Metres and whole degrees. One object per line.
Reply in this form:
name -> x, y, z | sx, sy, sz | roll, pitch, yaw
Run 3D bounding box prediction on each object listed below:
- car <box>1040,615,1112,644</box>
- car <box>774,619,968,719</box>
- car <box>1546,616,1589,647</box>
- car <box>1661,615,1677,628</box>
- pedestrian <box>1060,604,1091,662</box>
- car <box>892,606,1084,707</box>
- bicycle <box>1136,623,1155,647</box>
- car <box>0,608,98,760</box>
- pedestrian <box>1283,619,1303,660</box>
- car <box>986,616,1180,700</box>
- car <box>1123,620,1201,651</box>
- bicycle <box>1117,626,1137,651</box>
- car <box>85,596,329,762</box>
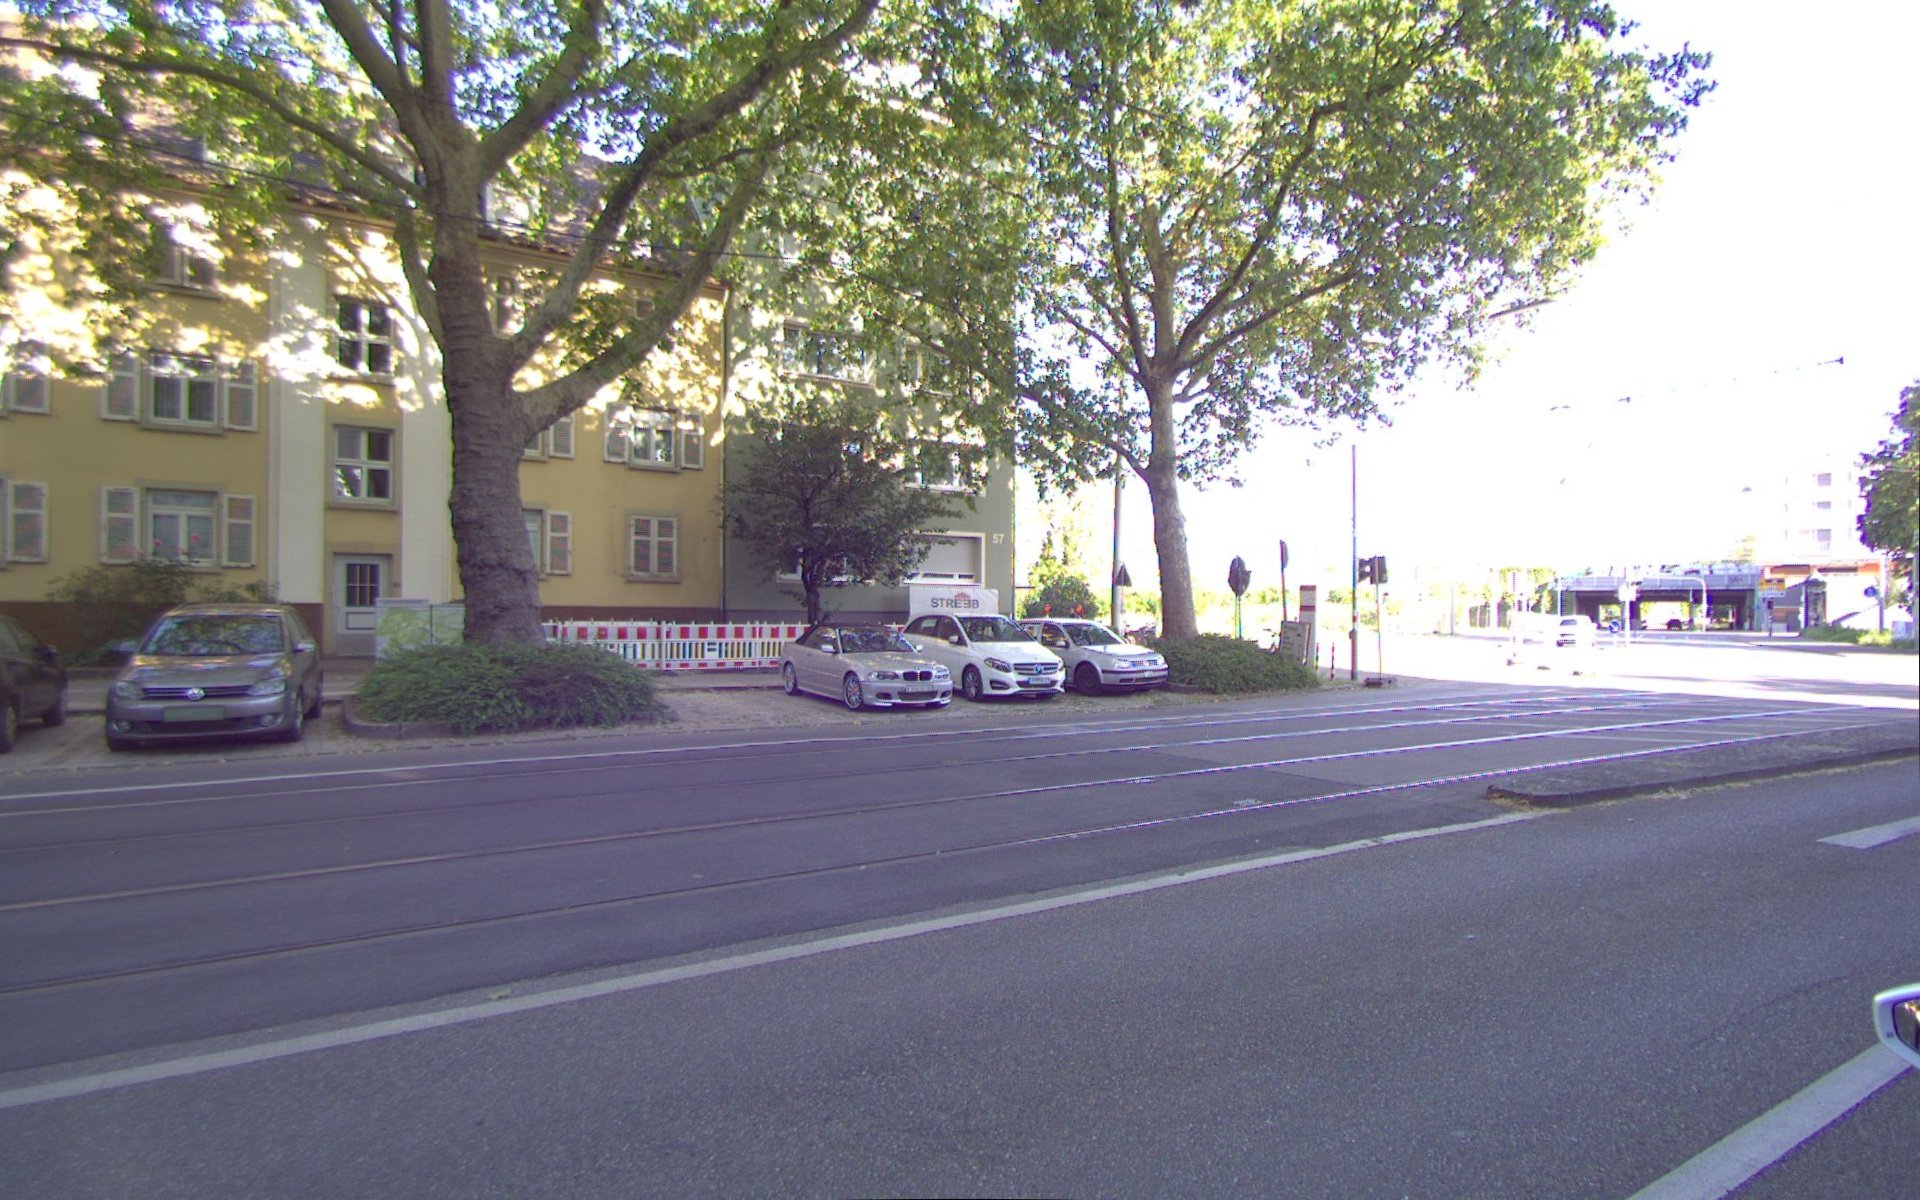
car -> 7.050, 1.755, 61.046 | 3.933, 1.439, 1.887 | 0, 5, 35
car -> -1.656, 1.090, 17.287 | 1.822, 1.387, 4.052 | 2, 0, -29
car -> 33.607, 1.692, 55.626 | 1.965, 1.653, 4.621 | 0, -1, 30
car -> 116.480, 3.539, 164.972 | 1.966, 2.040, 3.989 | 2, 0, 34
pedestrian -> 3.237, 0.909, 28.095 | 0.592, 1.589, 0.741 | 0, 0, 33
car -> 0.408, 0.987, 19.177 | 1.822, 1.633, 4.052 | 2, 0, -29
bicycle -> 6.339, 1.197, 34.423 | 0.351, 0.769, 1.781 | 0, -1, 1
car -> -11.410, 0.866, 11.422 | 1.673, 1.466, 3.834 | 2, 0, -29
pedestrian -> 13.476, 1.586, 40.647 | 0.591, 1.617, 0.682 | 2, 0, 35
car -> 2.409, 1.119, 20.560 | 1.688, 1.436, 3.960 | 2, 0, -36
car -> 11.582, 2.023, 57.706 | 3.933, 1.439, 1.887 | 0, 5, 35
bicycle -> 5.390, 1.220, 32.363 | 0.351, 0.769, 1.781 | 0, -1, 18
car -> -8.974, 0.816, 12.333 | 1.822, 1.641, 4.052 | 2, 0, -29
